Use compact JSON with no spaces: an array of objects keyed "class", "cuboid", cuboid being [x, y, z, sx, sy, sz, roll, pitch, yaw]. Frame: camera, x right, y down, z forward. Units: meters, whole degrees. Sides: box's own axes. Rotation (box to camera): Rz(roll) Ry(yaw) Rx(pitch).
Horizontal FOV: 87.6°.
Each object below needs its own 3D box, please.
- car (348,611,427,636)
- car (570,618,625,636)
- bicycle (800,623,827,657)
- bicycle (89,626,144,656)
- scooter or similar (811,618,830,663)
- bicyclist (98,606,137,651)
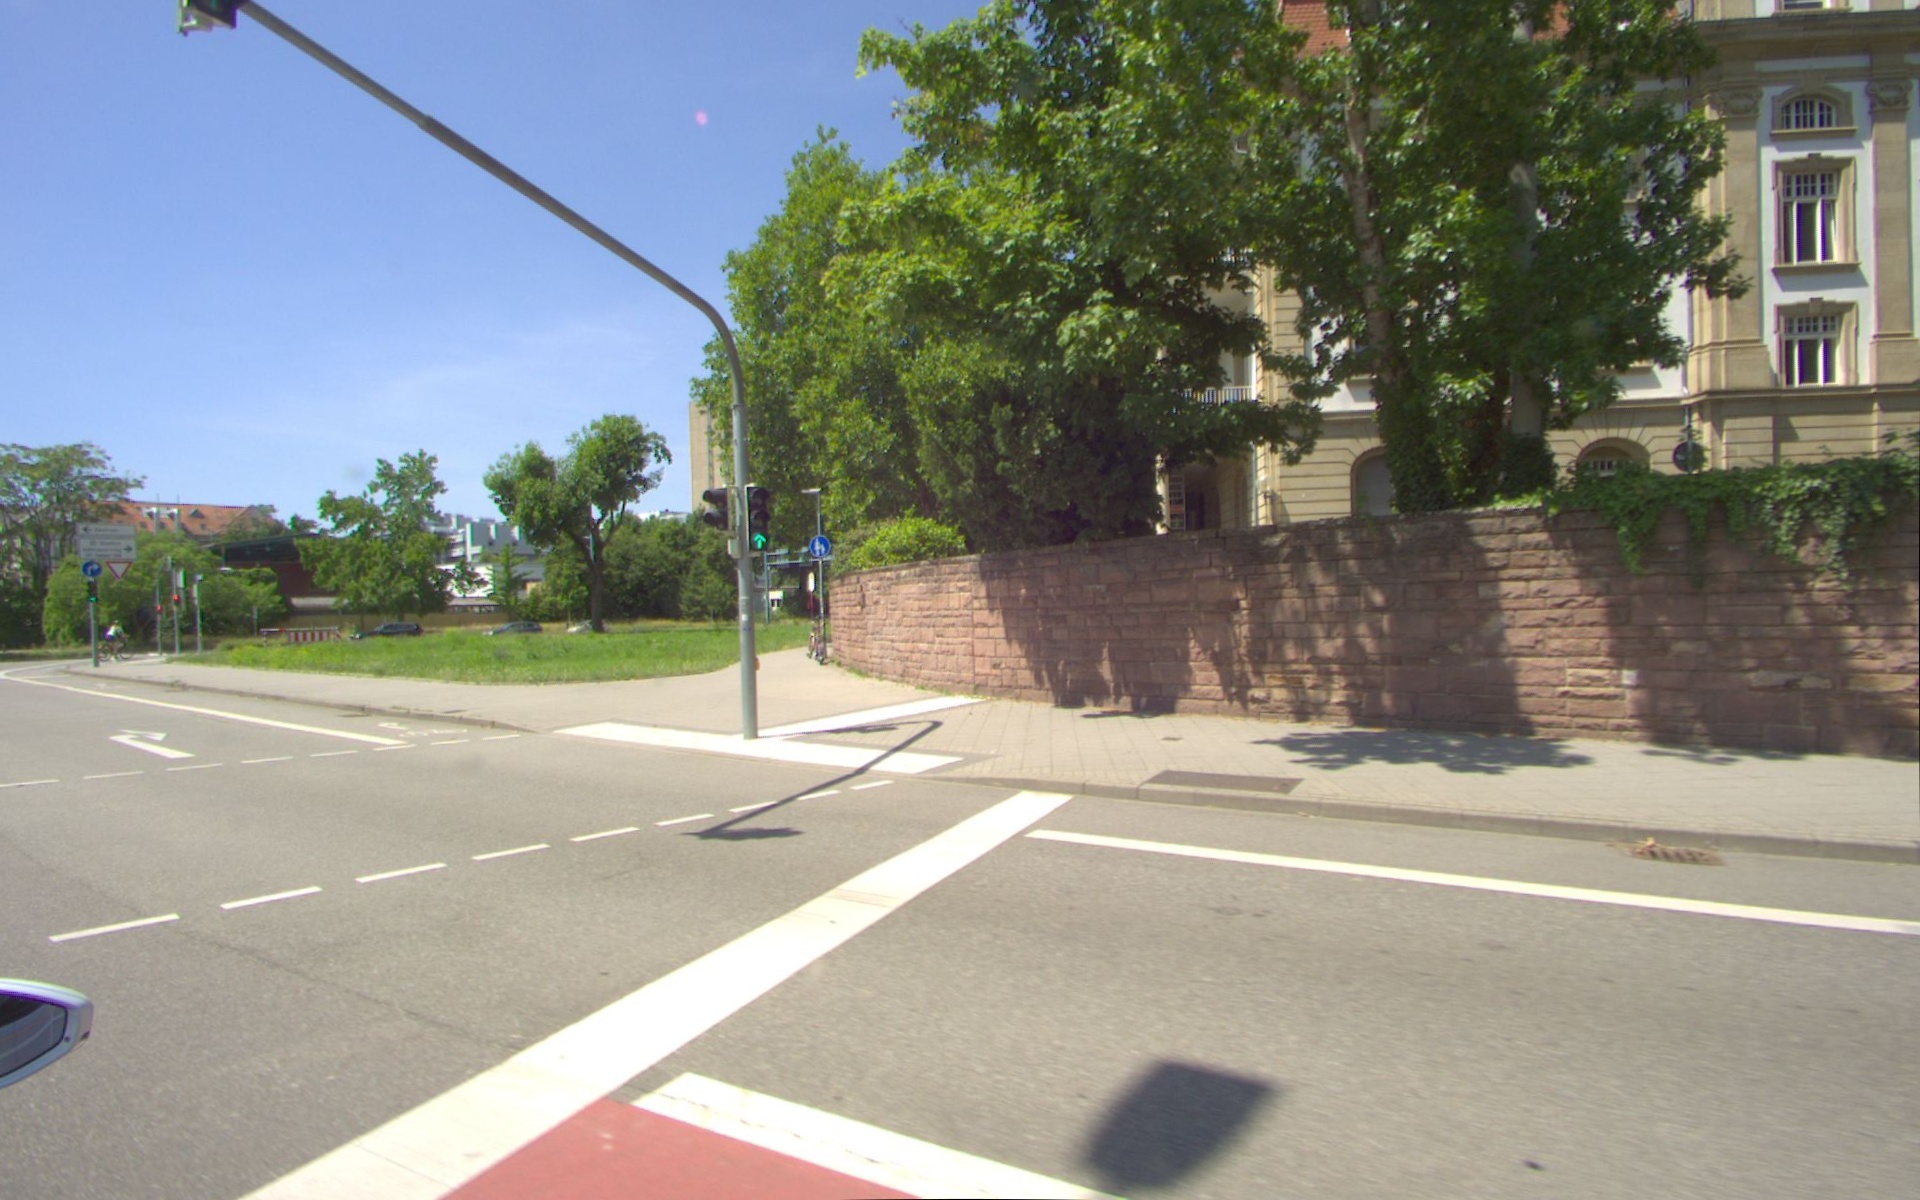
[{"class":"car","cuboid":[-40.299,1.650,70.562,1.692,1.607,4.511,-2,0,45]},{"class":"car","cuboid":[-29.831,2.238,82.538,1.738,1.457,3.972,-1,-2,38]},{"class":"bicycle","cuboid":[-4.086,1.113,27.968,0.666,0.940,1.775,0,-2,-6]},{"class":"bicycle","cuboid":[-36.361,1.770,43.206,0.511,1.253,2.193,0,-2,1]},{"class":"scooter or similar","cuboid":[-3.573,1.024,25.636,0.368,1.123,1.348,0,-2,-13]},{"class":"bicyclist","cuboid":[-36.341,1.236,43.196,0.695,1.911,1.139,0,-1,-1]}]
